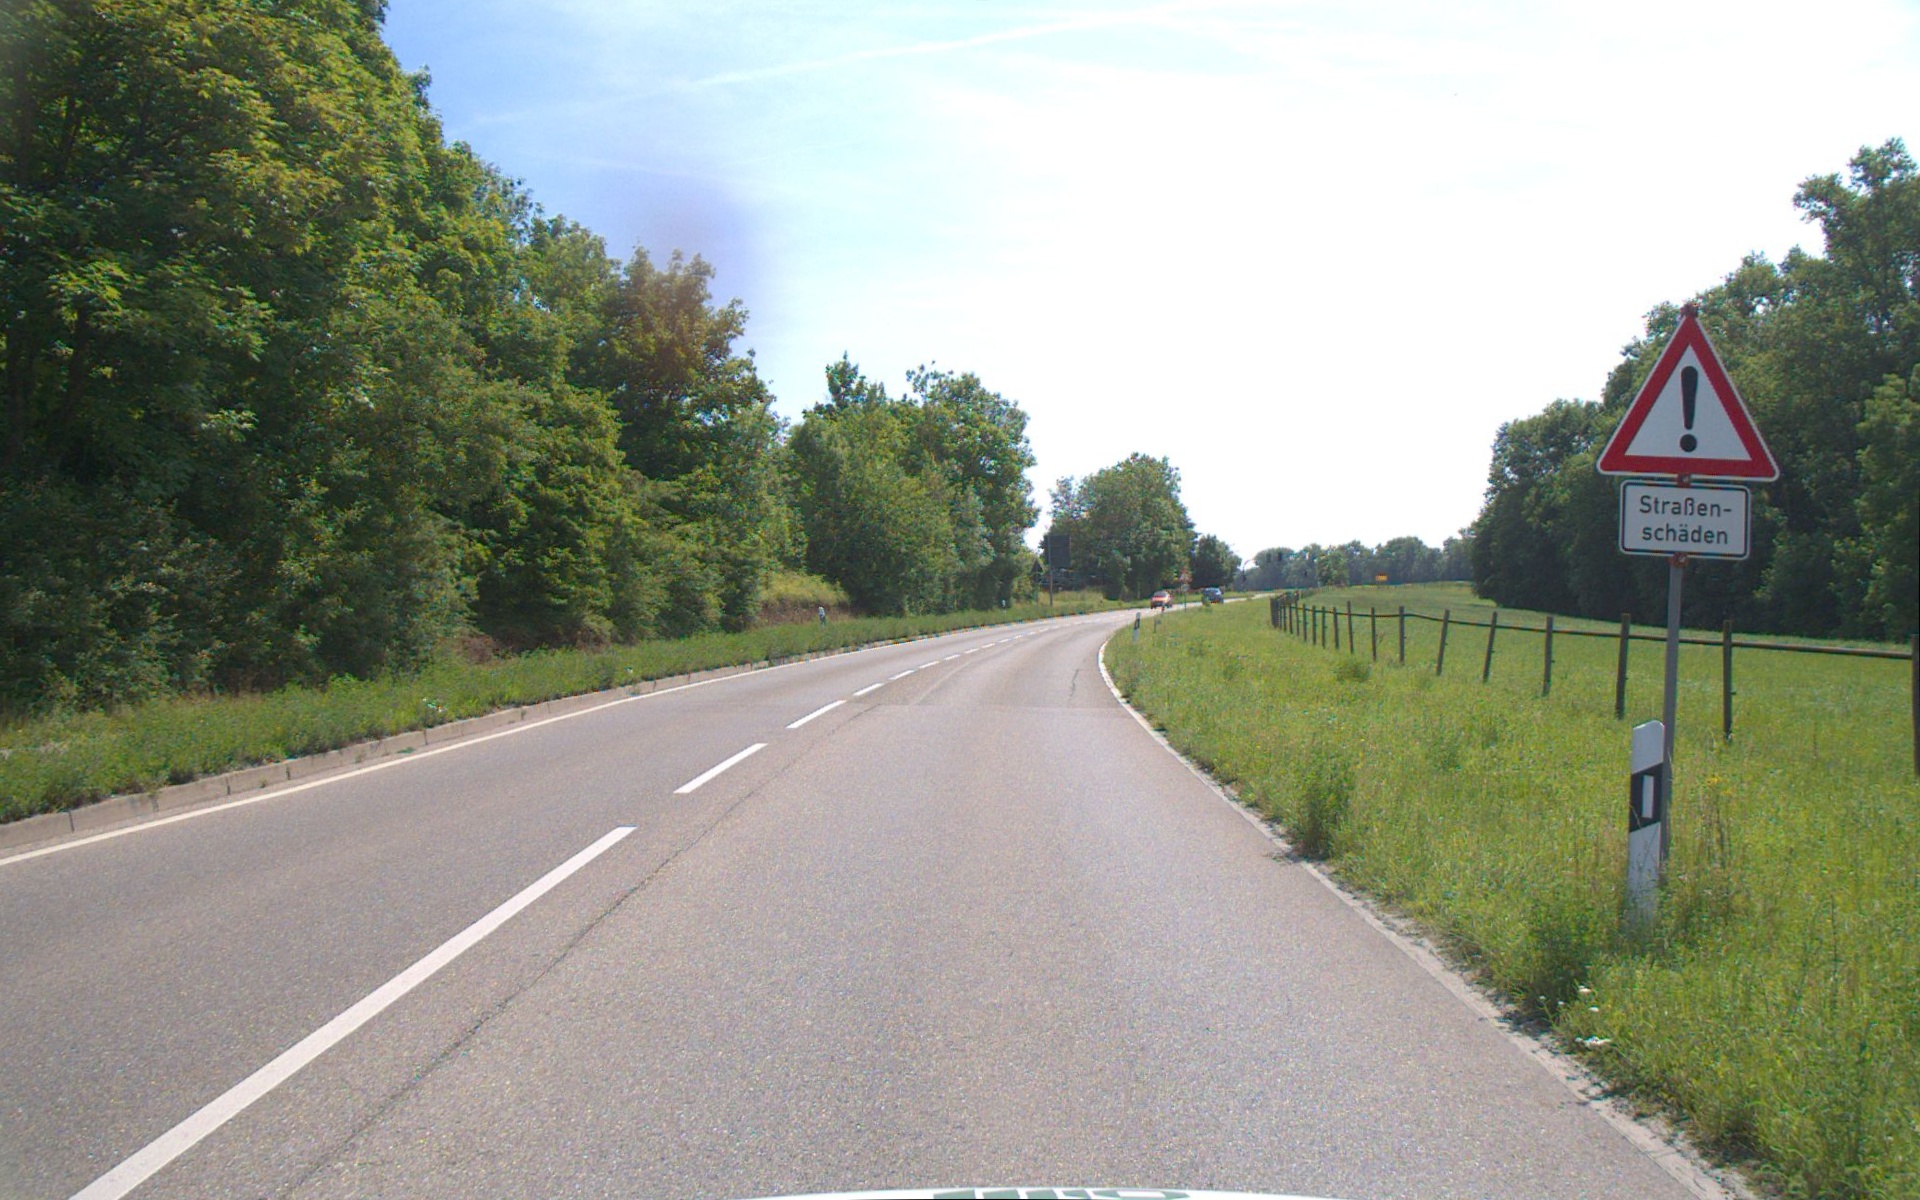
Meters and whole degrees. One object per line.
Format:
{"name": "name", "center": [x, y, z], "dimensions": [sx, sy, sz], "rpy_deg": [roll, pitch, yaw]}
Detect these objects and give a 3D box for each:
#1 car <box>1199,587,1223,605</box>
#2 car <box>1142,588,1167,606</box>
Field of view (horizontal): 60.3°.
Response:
{"name": "car", "center": [23.953, -0.376, 157.635], "dimensions": [1.951, 1.601, 4.003], "rpy_deg": [1, 0, 14]}
{"name": "car", "center": [16.542, -0.289, 140.543], "dimensions": [1.782, 1.494, 4.004], "rpy_deg": [1, 0, 11]}
